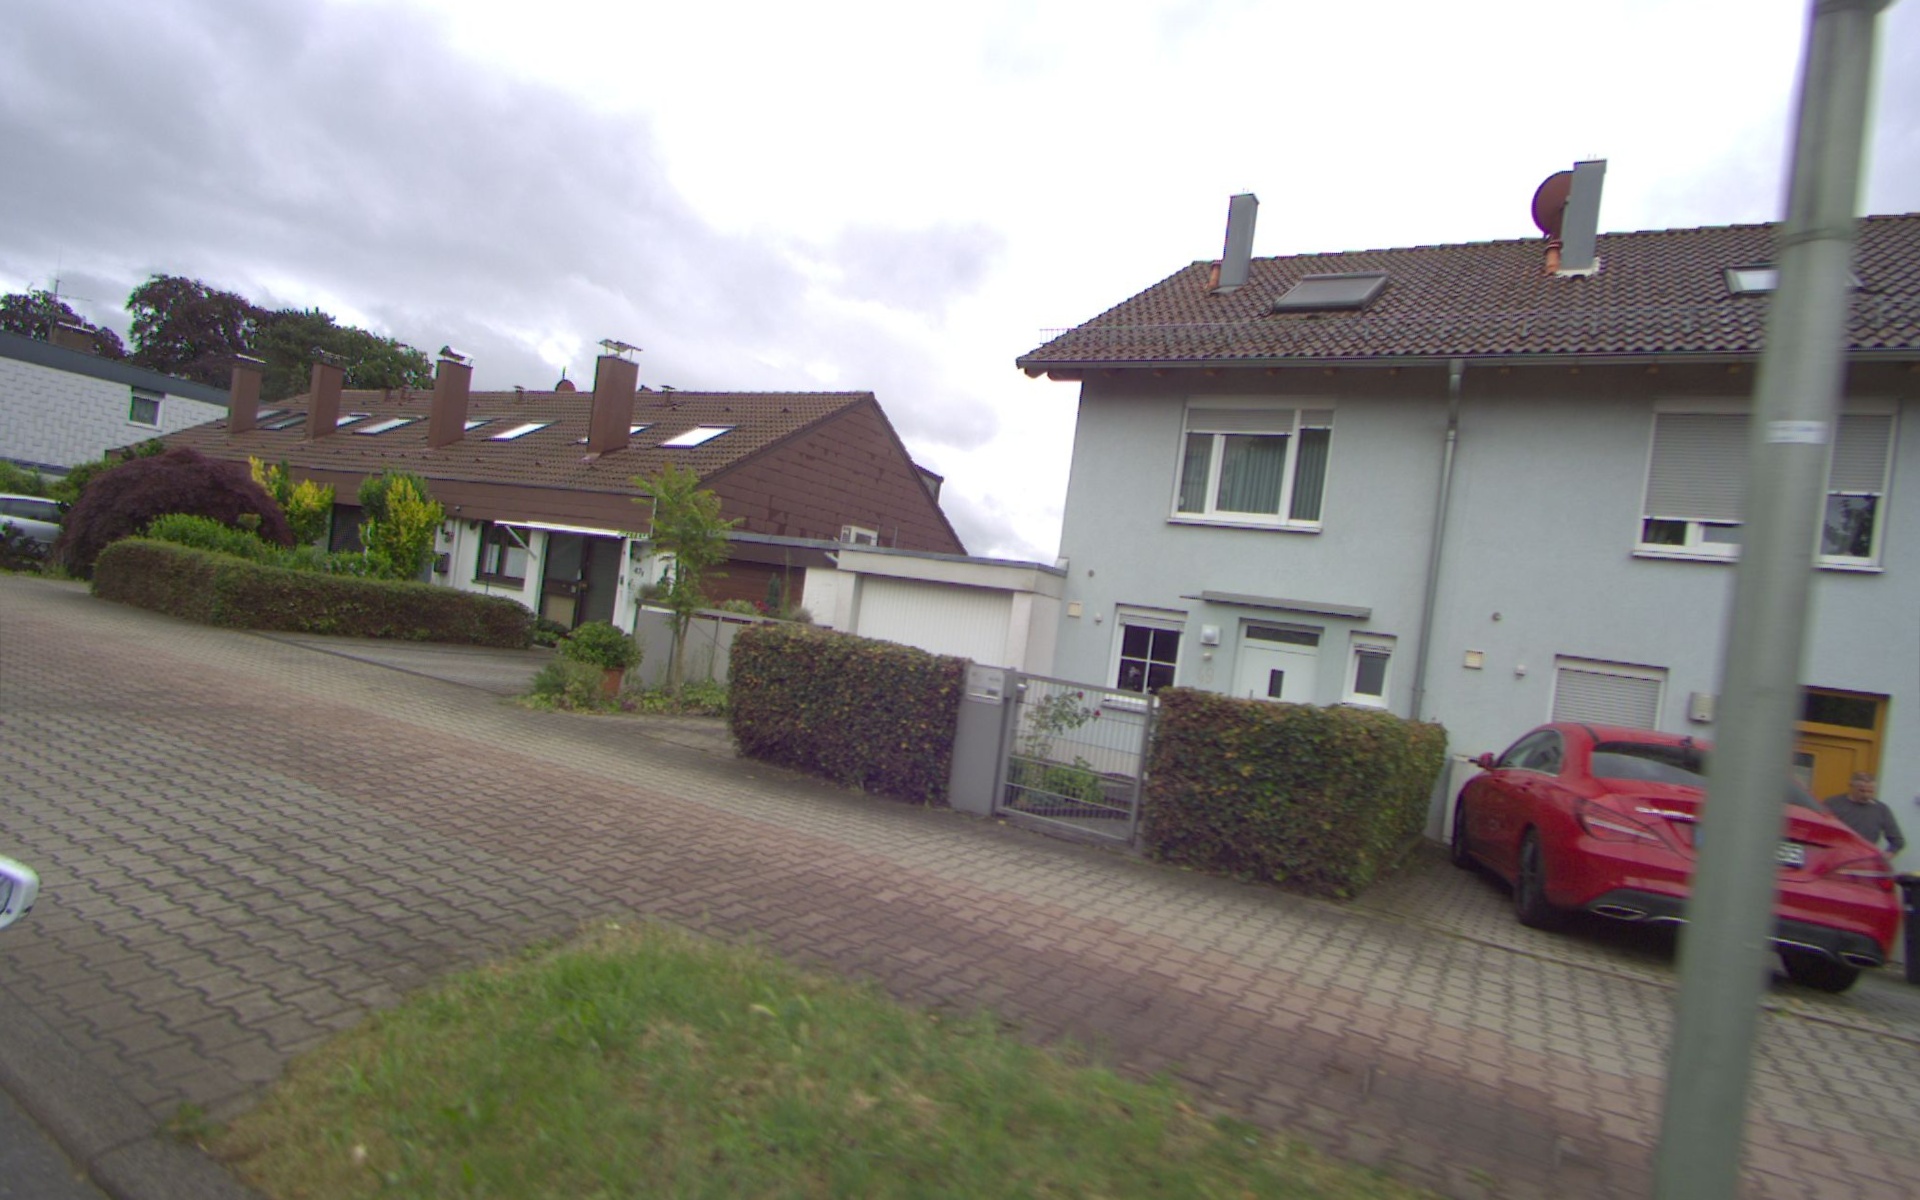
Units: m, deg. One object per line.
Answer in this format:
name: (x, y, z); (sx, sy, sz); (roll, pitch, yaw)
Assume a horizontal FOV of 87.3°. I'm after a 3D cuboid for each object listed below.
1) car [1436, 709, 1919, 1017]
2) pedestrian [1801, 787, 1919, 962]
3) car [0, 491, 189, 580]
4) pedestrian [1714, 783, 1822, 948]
car: (4.875, 1.607, 7.496); (1.648, 1.274, 4.324); (8, -3, 17)
pedestrian: (8.009, 2.412, 8.949); (0.519, 1.366, 0.537); (7, -1, 18)
car: (-19.678, -1.456, 21.989); (1.816, 1.459, 3.996); (7, -2, 29)
pedestrian: (7.502, 2.438, 9.343); (0.493, 1.366, 0.559); (8, -1, -37)
